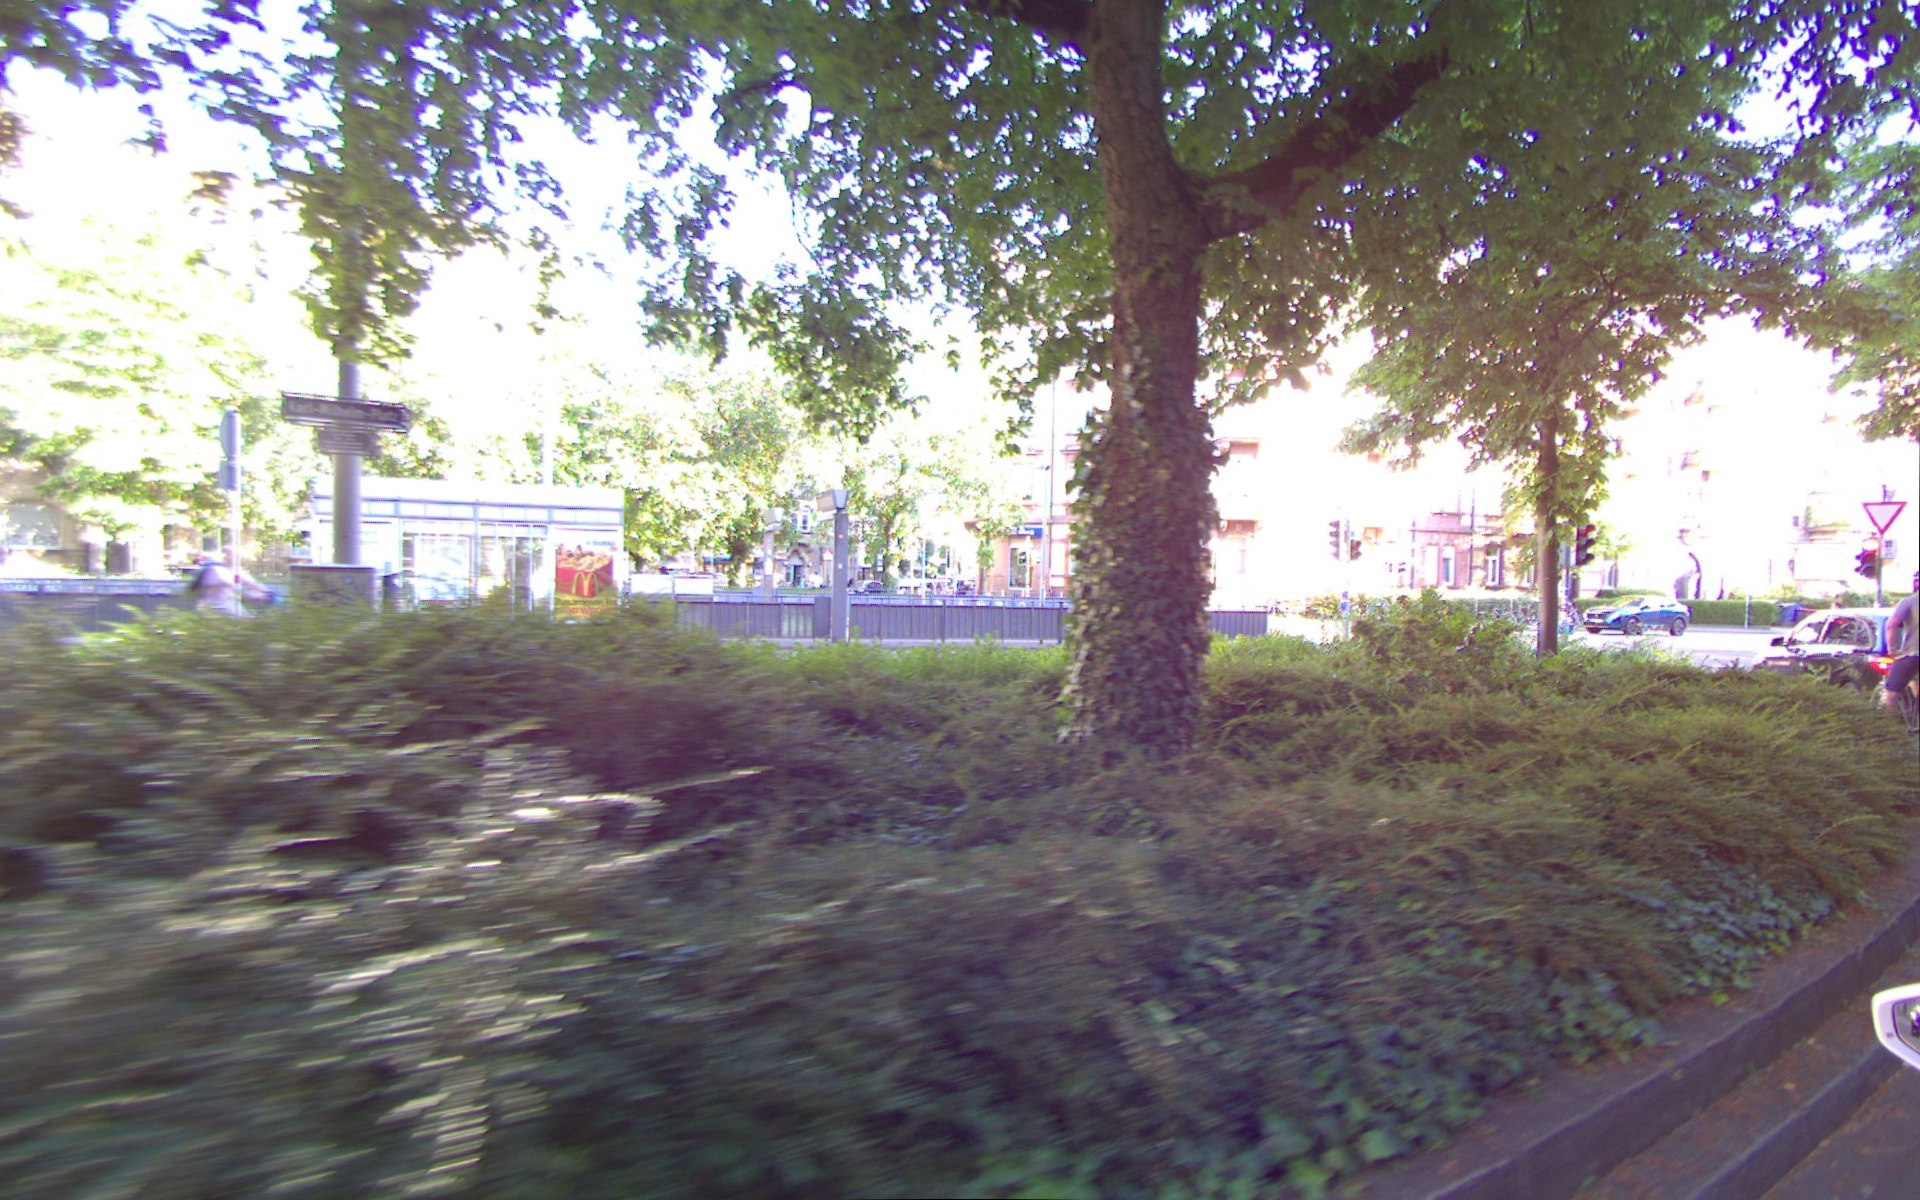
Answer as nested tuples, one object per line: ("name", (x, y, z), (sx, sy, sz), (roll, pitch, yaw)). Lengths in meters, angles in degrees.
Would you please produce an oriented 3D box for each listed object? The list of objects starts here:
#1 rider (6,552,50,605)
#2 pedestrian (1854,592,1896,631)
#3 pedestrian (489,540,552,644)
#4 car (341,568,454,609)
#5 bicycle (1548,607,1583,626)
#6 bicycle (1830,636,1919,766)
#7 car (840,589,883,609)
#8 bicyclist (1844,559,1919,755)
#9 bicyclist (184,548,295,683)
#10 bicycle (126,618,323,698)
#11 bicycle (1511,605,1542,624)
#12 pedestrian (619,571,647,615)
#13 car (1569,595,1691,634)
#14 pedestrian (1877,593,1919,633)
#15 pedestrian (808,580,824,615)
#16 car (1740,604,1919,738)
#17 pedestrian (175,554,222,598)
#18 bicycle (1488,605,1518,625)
("rider", (-30.758, -0.706, 33.149), (0.805, 1.704, 0.671), (4, 1, 12))
("pedestrian", (48.629, 0.616, 53.385), (1.367, 1.988, 1.155), (1, 1, -22))
("pedestrian", (-8.408, -0.151, 19.253), (1.004, 1.923, 0.908), (1, 1, -20))
("car", (-24.082, -0.484, 43.055), (3.918, 1.702, 1.930), (0, 2, -42))
("bicycle", (29.109, 0.784, 48.293), (1.419, 0.873, 0.450), (1, 1, -2))
("bicycle", (9.886, 1.020, 10.536), (0.588, 1.177, 2.039), (2, 1, 26))
("car", (-8.078, -0.104, 82.919), (1.732, 1.629, 3.997), (2, 1, 24))
("bicyclist", (9.873, 0.560, 10.311), (0.837, 1.924, 1.139), (1, 1, 24))
("bicyclist", (-9.601, 0.198, 13.417), (1.031, 1.739, 0.693), (1, 1, -20))
("bicycle", (-9.696, 0.756, 13.327), (1.952, 0.971, 0.767), (1, 1, -20))
("bicycle", (26.808, 0.690, 47.551), (1.200, 0.873, 0.450), (1, 1, -2))
("pedestrian", (-12.197, -0.261, 37.534), (0.797, 1.564, 0.819), (3, 1, -9))
("car", (28.205, 0.617, 42.340), (4.304, 1.516, 1.992), (1, 1, -17))
("pedestrian", (48.521, 0.663, 51.908), (1.367, 1.988, 1.155), (1, 1, -22))
("pedestrian", (-8.607, -0.151, 60.080), (0.791, 2.041, 0.568), (0, 2, -36))
("car", (12.340, 0.841, 13.492), (1.783, 1.564, 3.958), (0, 0, 20))
("pedestrian", (-34.123, -1.068, 45.021), (1.241, 1.937, 1.486), (2, 1, 41))
("bicycle", (25.630, 0.697, 47.419), (1.200, 0.873, 0.450), (1, 1, -2))
